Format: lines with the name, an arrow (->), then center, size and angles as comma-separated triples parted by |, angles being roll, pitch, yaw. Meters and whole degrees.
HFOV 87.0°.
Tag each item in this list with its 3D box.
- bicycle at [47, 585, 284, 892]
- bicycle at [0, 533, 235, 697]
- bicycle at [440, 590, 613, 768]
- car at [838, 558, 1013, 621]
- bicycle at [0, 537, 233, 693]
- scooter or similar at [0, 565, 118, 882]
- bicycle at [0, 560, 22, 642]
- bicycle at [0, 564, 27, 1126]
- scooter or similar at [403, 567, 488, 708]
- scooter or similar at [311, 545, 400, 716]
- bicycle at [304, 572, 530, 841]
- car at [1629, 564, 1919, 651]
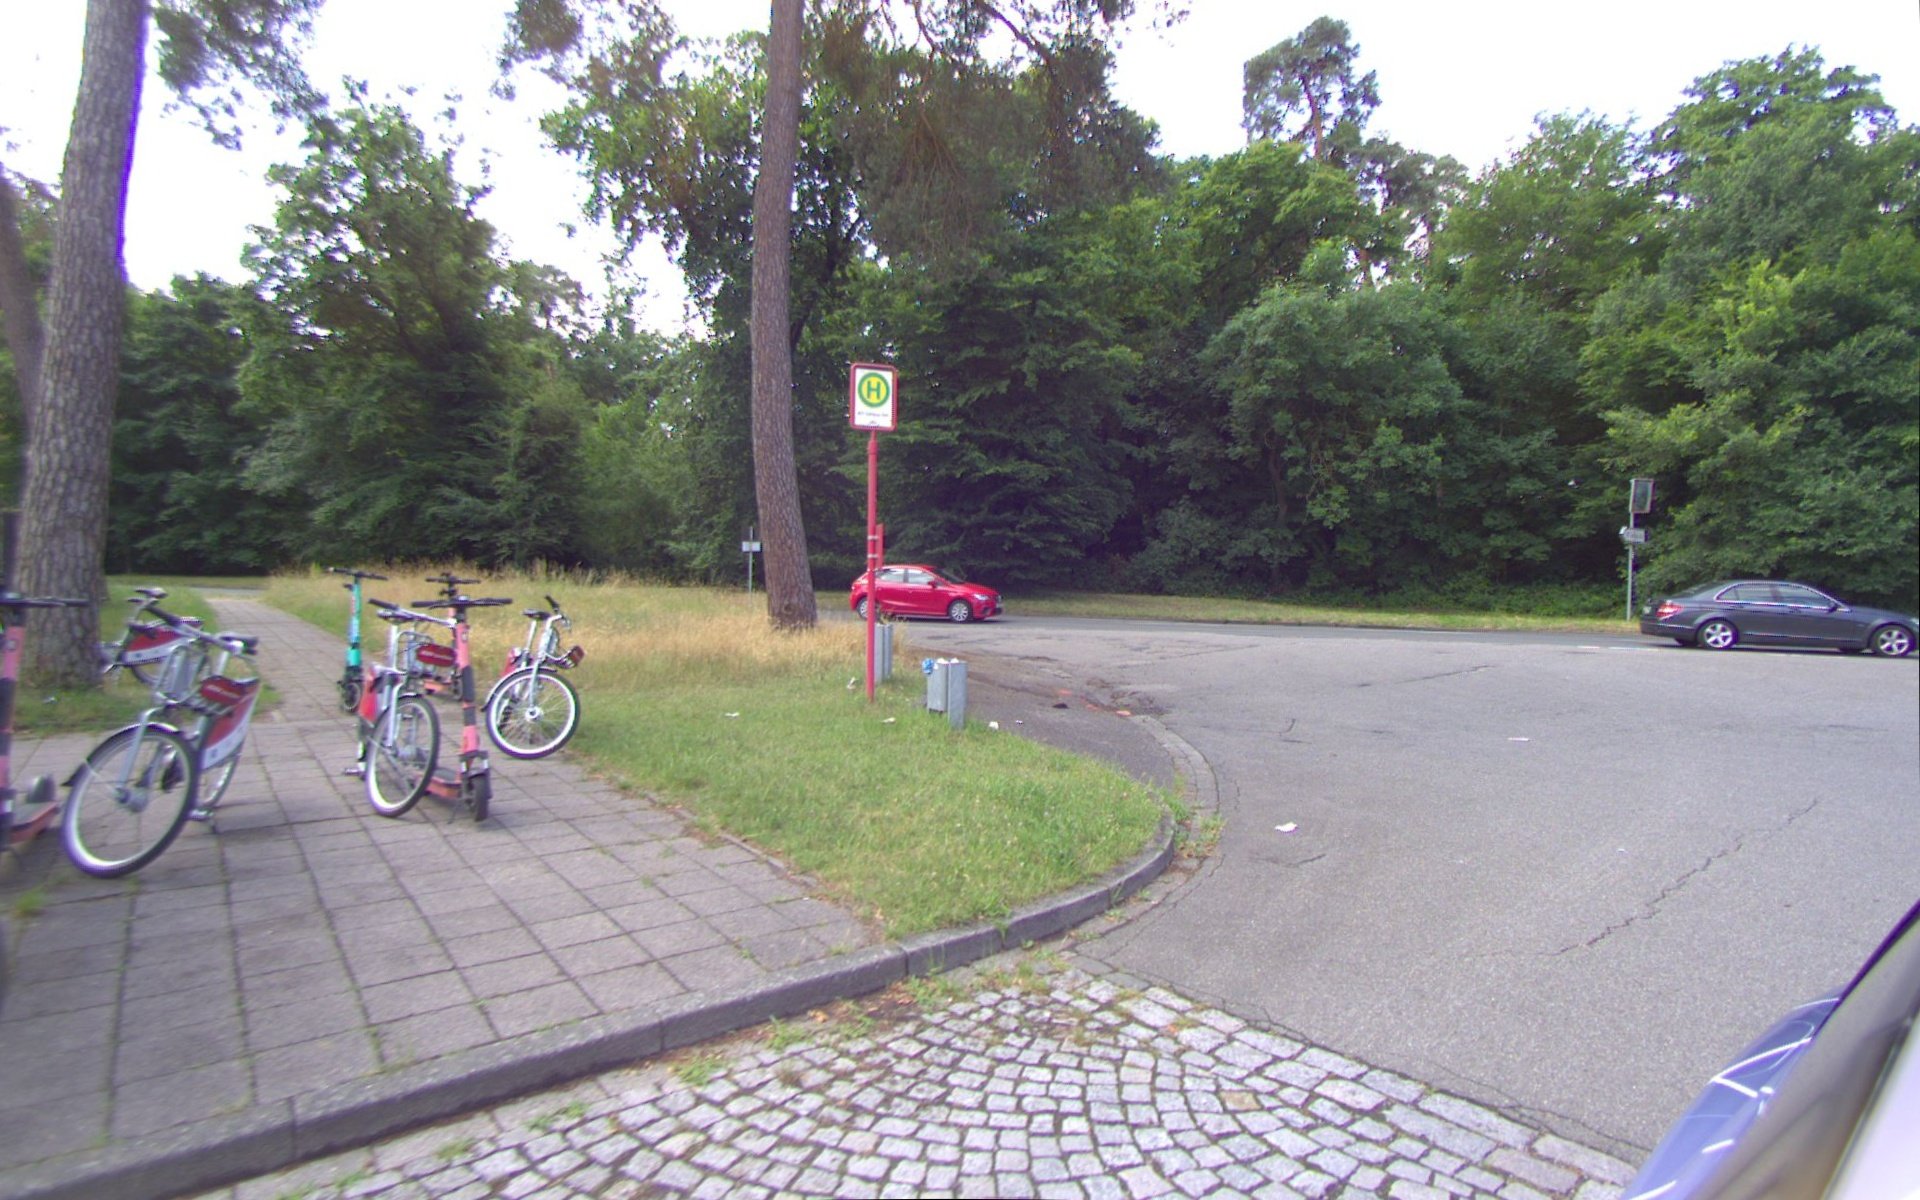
bicycle -> -3.792, 0.559, 4.955 | 0.610, 1.176, 1.614 | 2, 2, -28
bicycle -> -8.135, 0.116, 9.737 | 0.585, 1.435, 1.775 | 2, 1, 35
bicycle -> -3.285, 0.518, 7.586 | 0.728, 1.097, 1.681 | -2, 4, -40
car -> -0.876, -0.317, 26.424 | 4.147, 1.482, 1.990 | 2, 2, 17
bicycle -> -8.566, 0.120, 10.176 | 0.575, 1.434, 1.957 | 2, 2, 35
scooter or similar -> -4.242, 0.489, 4.662 | 0.378, 1.261, 1.286 | 0, 3, -32
bicycle -> -13.137, -0.015, 13.796 | 0.367, 1.029, 1.952 | 0, 3, -39
bicycle -> -3.085, 0.572, 2.833 | 0.661, 1.293, 1.737 | -1, 4, -42
scooter or similar -> -5.015, 0.330, 9.847 | 0.431, 1.242, 1.088 | -3, 5, -43
scooter or similar -> -5.504, 0.230, 9.190 | 0.520, 1.434, 1.252 | 1, 2, -38
bicycle -> -3.246, 0.493, 5.935 | 0.625, 1.255, 2.170 | -2, 4, -43
car -> 16.182, 0.118, 20.062 | 4.474, 1.482, 1.953 | 2, 1, 21
